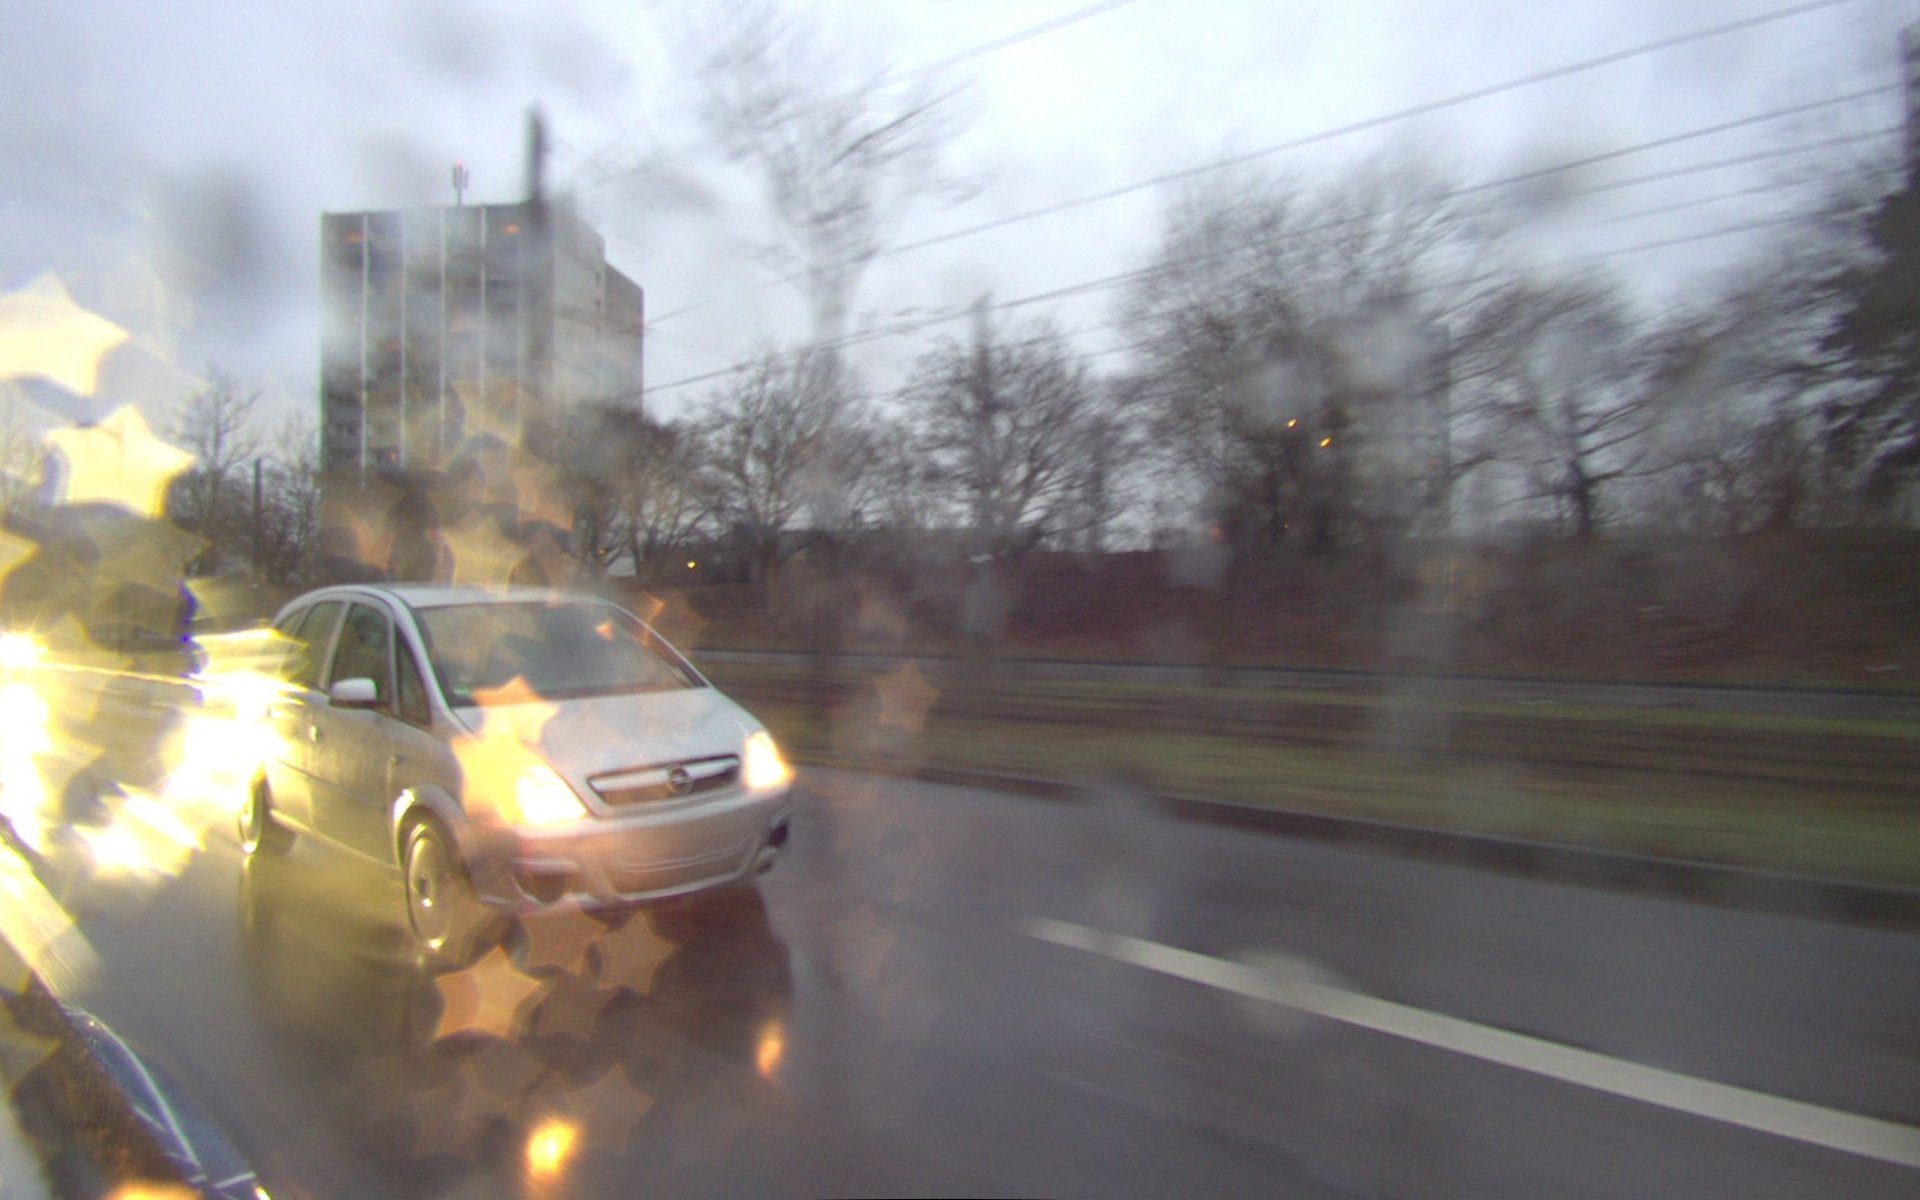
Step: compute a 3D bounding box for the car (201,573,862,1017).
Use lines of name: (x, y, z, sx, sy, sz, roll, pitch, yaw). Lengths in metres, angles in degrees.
car: (-2.595, 0.698, 5.556, 4.188, 1.551, 1.672, -1, 0, 41)

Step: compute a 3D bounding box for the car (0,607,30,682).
car: (-22.569, 0.974, 22.745, 4.121, 1.612, 1.928, -1, -1, 40)
